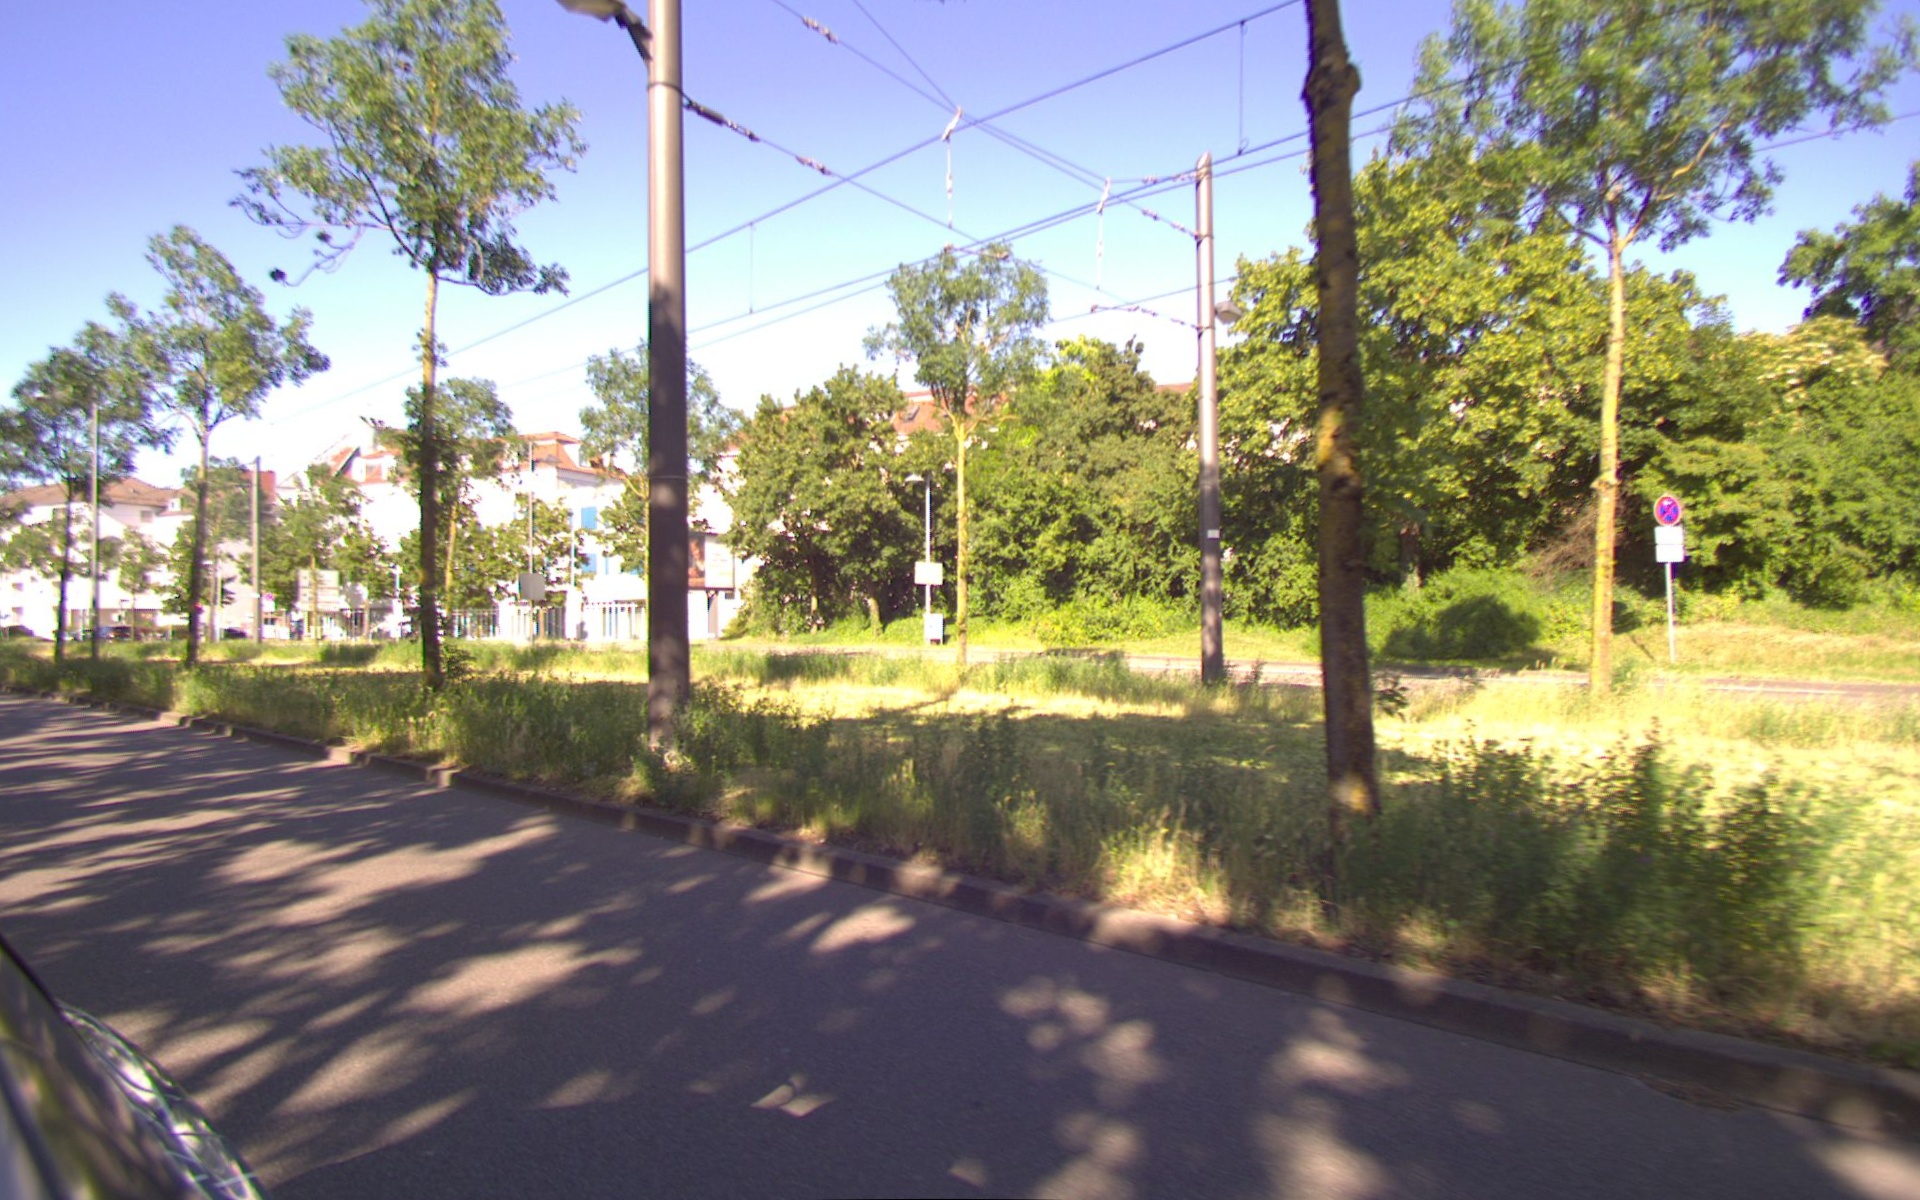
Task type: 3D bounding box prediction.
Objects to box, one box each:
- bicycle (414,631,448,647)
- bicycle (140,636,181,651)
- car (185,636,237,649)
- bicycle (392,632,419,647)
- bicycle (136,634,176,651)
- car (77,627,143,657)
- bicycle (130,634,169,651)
[{"bbox_3d":[-43.207,3.204,82.713,0.716,1.222,2.527,-2,-2,28],"label":"bicycle"},{"bbox_3d":[-66.232,3.591,83.858,0.779,1.168,2.556,-2,-2,27],"label":"bicycle"},{"bbox_3d":[-77.610,4.399,104.959,1.691,1.320,4.059,-2,-2,22],"label":"car"},{"bbox_3d":[-45.271,3.217,82.662,2.541,1.222,0.712,-2,-2,29],"label":"bicycle"},{"bbox_3d":[-67.040,3.548,84.376,0.659,1.319,2.556,-2,-2,27],"label":"bicycle"},{"bbox_3d":[-54.736,2.698,65.158,4.470,1.653,1.807,-5,-4,30],"label":"car"},{"bbox_3d":[-67.962,3.564,84.881,0.659,1.319,2.556,-2,-2,27],"label":"bicycle"}]
